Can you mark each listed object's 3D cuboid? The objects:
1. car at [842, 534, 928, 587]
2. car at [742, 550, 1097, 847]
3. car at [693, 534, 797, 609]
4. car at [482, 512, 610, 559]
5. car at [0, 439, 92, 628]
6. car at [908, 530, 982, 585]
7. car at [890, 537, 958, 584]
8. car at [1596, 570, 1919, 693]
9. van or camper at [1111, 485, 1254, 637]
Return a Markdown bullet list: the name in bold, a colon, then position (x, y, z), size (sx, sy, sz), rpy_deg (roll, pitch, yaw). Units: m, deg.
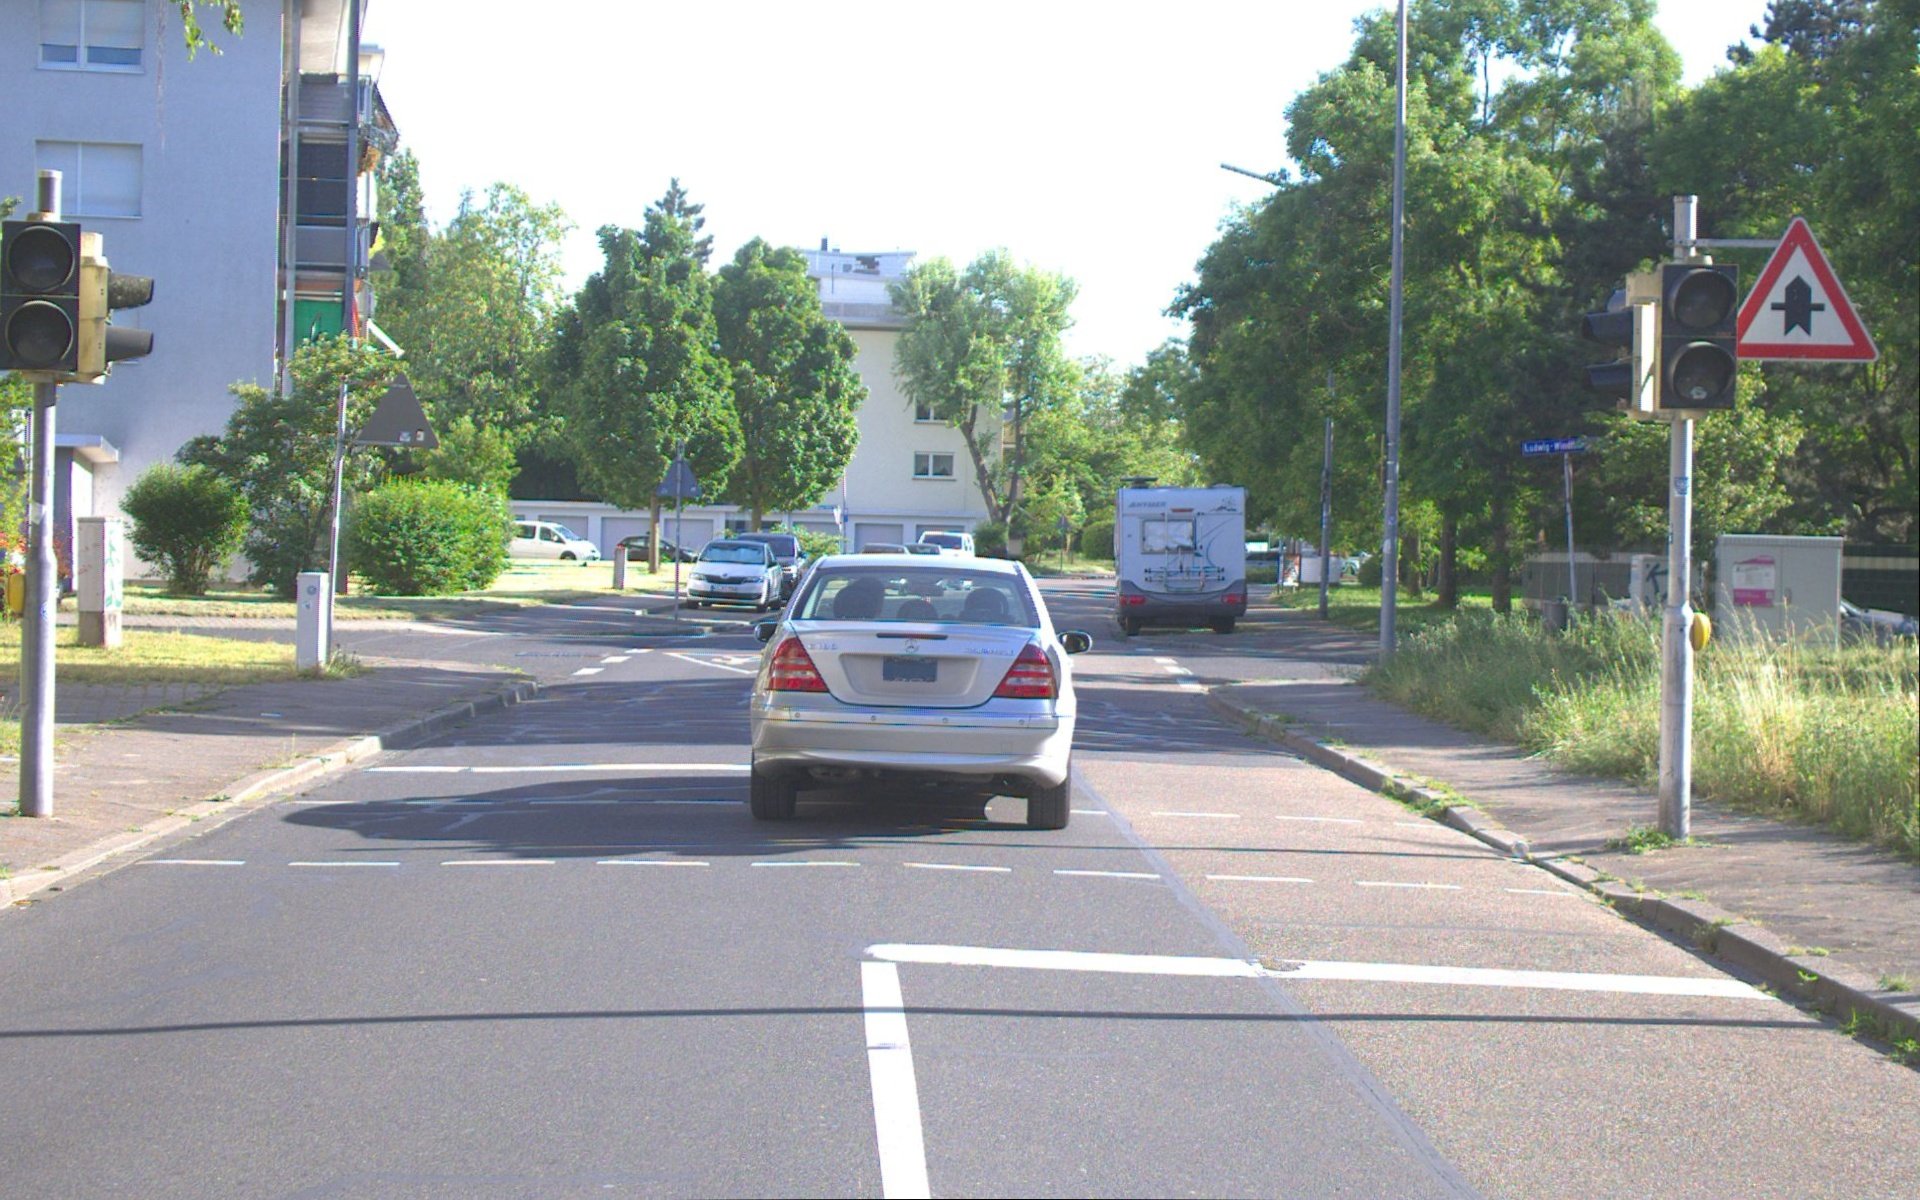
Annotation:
- **car**: position (-2.302, -1.249, 107.380), size (2.035, 1.487, 5.255), rpy_deg (4, 1, 5)
- **car**: position (-0.251, 0.466, 18.813), size (1.733, 1.429, 3.438), rpy_deg (1, 1, -2)
- **car**: position (-4.503, -0.623, 72.407), size (1.646, 1.461, 4.330), rpy_deg (3, 1, 3)
- **car**: position (-18.140, -2.842, 150.749), size (5.108, 1.944, 2.236), rpy_deg (1, 1, 13)
- **car**: position (-14.711, -0.943, 45.433), size (5.904, 2.420, 2.213), rpy_deg (1, 2, 0)
- **car**: position (-0.526, -1.555, 126.613), size (2.015, 1.879, 5.189), rpy_deg (3, 1, 6)
- **car**: position (-1.239, -1.377, 120.159), size (1.834, 1.513, 4.220), rpy_deg (3, 1, 6)
- **car**: position (10.554, 0.403, 44.346), size (4.426, 1.333, 1.746), rpy_deg (2, 2, 5)
- **van or camper**: position (4.013, -0.739, 63.097), size (2.351, 2.587, 6.425), rpy_deg (-1, 1, 2)
